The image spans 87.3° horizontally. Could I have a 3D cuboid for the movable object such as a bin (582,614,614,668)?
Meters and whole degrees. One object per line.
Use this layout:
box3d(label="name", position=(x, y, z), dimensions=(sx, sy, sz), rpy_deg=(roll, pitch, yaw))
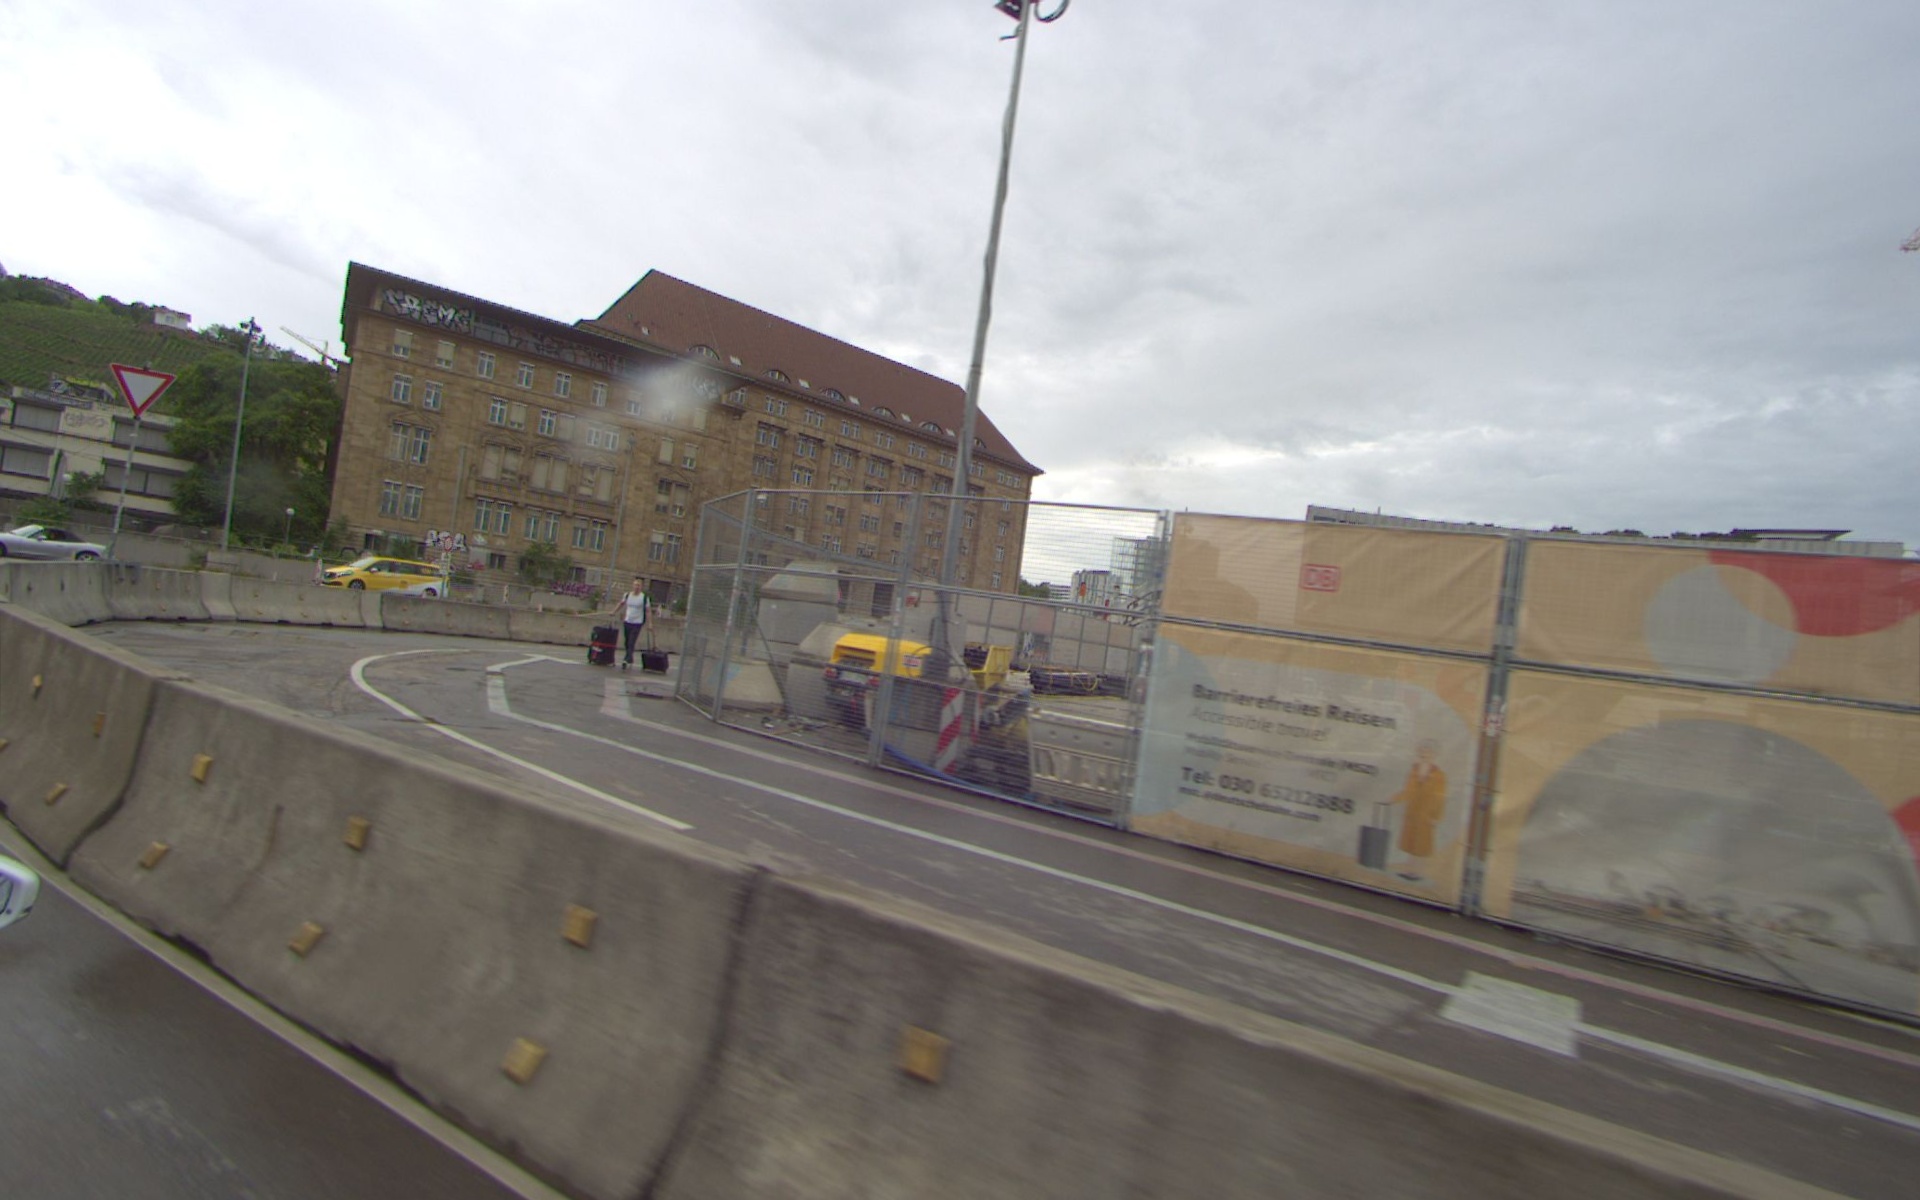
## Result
box3d(label="movable object such as a bin", position=(-7.302, 0.814, 20.293), dimensions=(0.425, 1.028, 0.521), rpy_deg=(8, -2, -14))

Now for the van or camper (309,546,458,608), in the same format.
box3d(label="van or camper", position=(-27.173, -1.035, 47.638), dimensions=(2.209, 2.077, 5.603), rpy_deg=(7, -3, 31))

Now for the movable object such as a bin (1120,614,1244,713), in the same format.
box3d(label="movable object such as a bin", position=(9.347, 2.689, 42.040), dimensions=(3.873, 3.532, 4.354), rpy_deg=(5, -3, 27))

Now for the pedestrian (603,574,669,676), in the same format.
box3d(label="pedestrian", position=(-6.531, 0.508, 20.324), dimensions=(0.987, 1.886, 0.777), rpy_deg=(8, -1, -14))

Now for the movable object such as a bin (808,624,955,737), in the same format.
box3d(label="movable object such as a bin", position=(-1.163, 1.223, 15.259), dimensions=(1.169, 1.488, 1.890), rpy_deg=(5, -2, 35))

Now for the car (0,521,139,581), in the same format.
box3d(label="car", position=(-28.293, -1.598, 30.801), dimensions=(1.615, 1.324, 4.527), rpy_deg=(7, -3, 30))

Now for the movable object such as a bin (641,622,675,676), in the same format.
box3d(label="movable object such as a bin", position=(-6.244, 1.006, 20.797), dimensions=(0.511, 1.028, 0.552), rpy_deg=(8, -2, -14))
